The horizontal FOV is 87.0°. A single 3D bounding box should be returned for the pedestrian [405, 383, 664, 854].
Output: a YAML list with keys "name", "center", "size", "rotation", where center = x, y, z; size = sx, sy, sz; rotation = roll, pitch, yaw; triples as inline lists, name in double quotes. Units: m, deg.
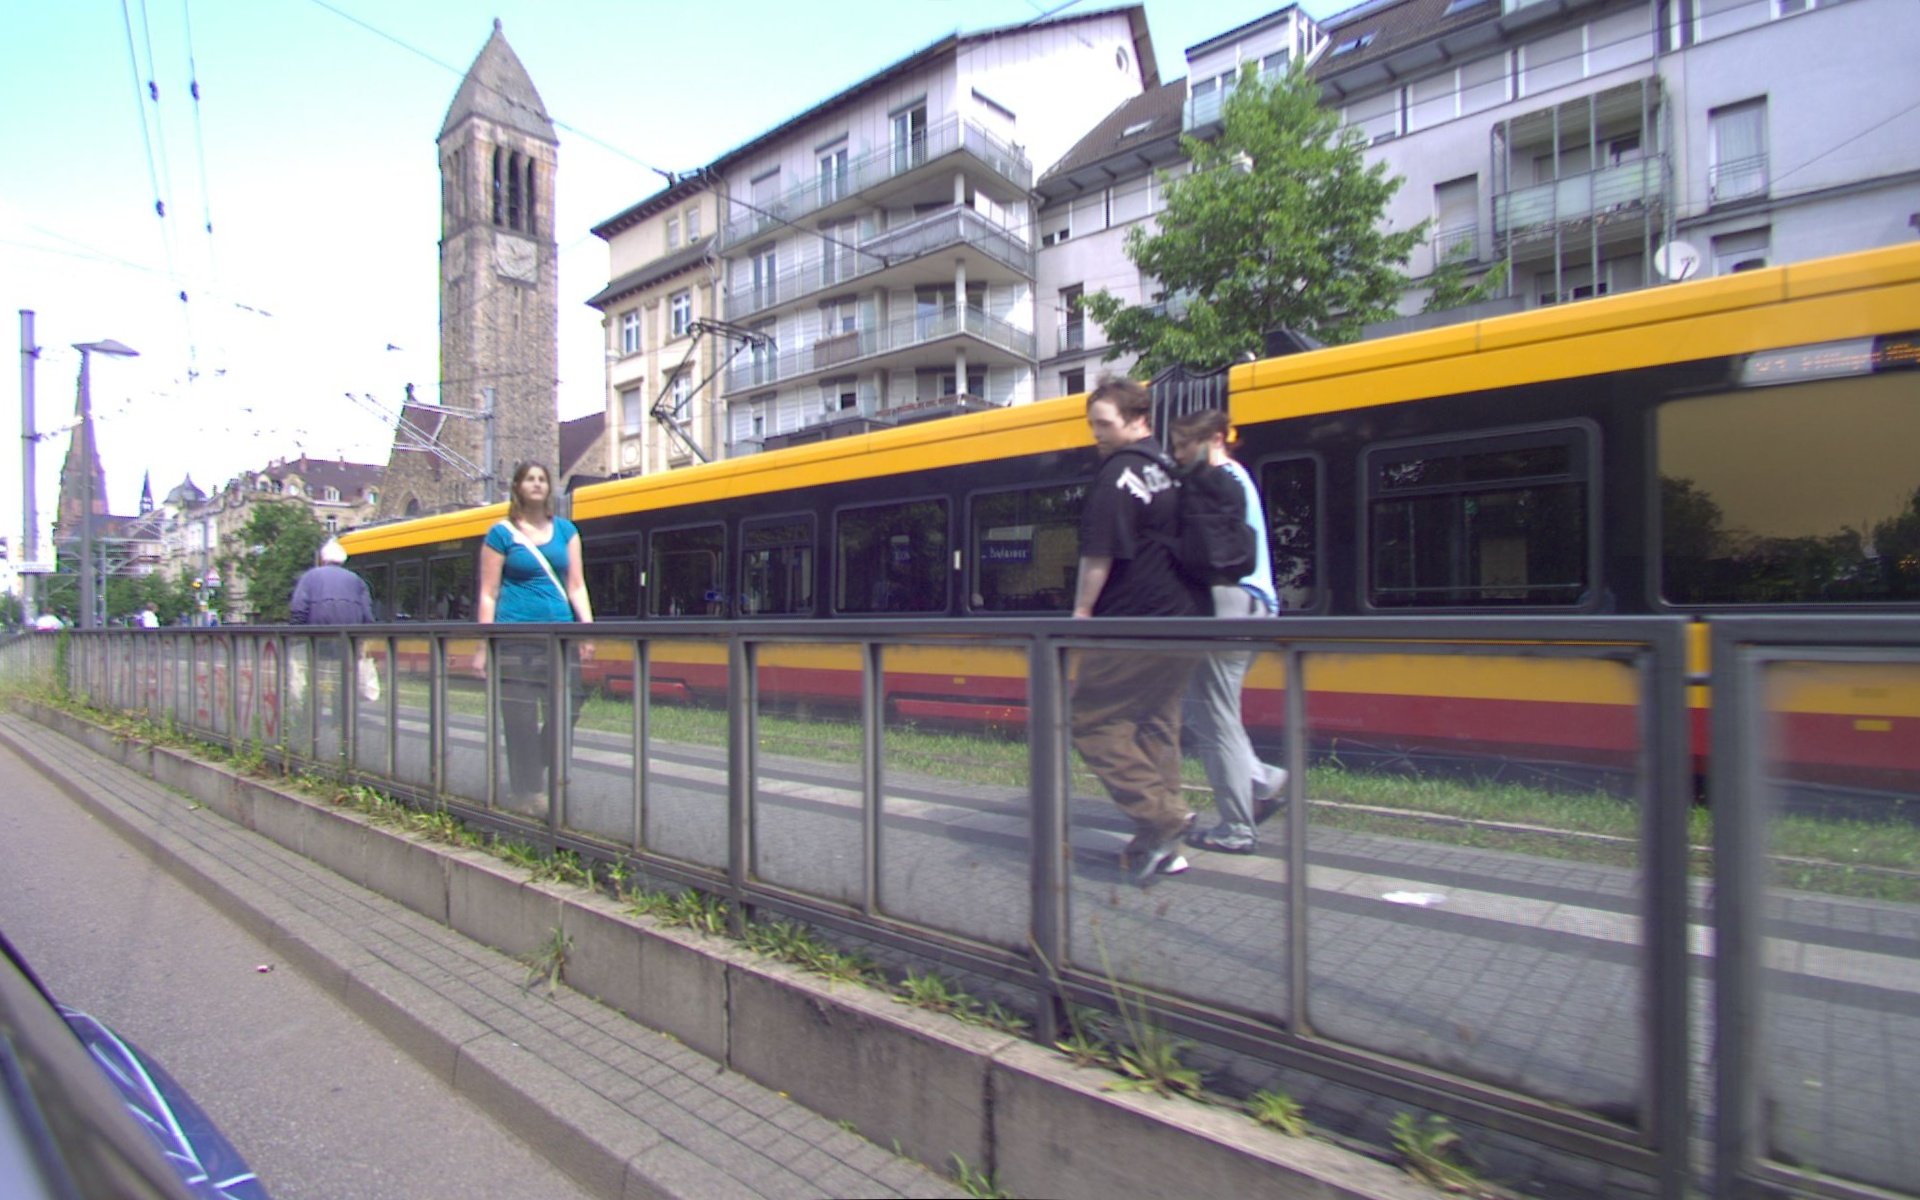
- name: "pedestrian"
  center: [-1.973, 0.078, 4.697]
  size: [0.846, 1.913, 0.818]
  rotation: [-2, -1, 42]

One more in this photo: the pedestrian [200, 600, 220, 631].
- name: "pedestrian"
  center: [-42.557, 0.904, 57.407]
  size: [0.743, 1.744, 0.761]
  rotation: [-2, -2, 42]

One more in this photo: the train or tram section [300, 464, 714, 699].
- name: "train or tram section"
  center: [-10.062, -0.155, 20.960]
  size: [13.012, 3.611, 2.777]
  rotation: [-2, -1, 42]

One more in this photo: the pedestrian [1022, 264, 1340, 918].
- name: "pedestrian"
  center: [0.743, -0.024, 3.409]
  size: [0.789, 1.863, 0.694]
  rotation: [-2, -1, 41]

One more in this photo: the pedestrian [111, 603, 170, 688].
- name: "pedestrian"
  center: [-17.773, 0.972, 21.948]
  size: [1.045, 1.794, 0.839]
  rotation: [-2, -1, 42]

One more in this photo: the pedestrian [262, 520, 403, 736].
- name: "pedestrian"
  center: [-5.577, 0.236, 8.996]
  size: [0.876, 1.788, 0.848]
  rotation: [-2, -1, 42]

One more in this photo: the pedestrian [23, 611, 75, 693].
- name: "pedestrian"
  center: [-19.027, 1.075, 21.147]
  size: [0.615, 1.678, 0.678]
  rotation: [-1, -1, -23]

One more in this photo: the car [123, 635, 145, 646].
- name: "car"
  center: [-99.799, 4.939, 122.200]
  size: [3.063, 1.243, 1.632]
  rotation: [-3, -1, 42]

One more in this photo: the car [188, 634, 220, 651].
- name: "car"
  center: [-72.832, 4.108, 97.468]
  size: [3.837, 1.506, 1.764]
  rotation: [-3, -1, 43]

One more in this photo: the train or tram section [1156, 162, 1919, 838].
- name: "train or tram section"
  center: [7.407, -0.582, 5.172]
  size: [13.012, 3.611, 2.695]
  rotation: [-2, -1, 42]

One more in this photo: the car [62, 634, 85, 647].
- name: "car"
  center: [-109.122, 4.969, 124.586]
  size: [4.132, 1.517, 1.794]
  rotation: [-3, -1, 44]

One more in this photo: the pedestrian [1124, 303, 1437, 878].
- name: "pedestrian"
  center: [1.209, -0.027, 3.843]
  size: [0.907, 1.863, 0.694]
  rotation: [-2, -1, 41]

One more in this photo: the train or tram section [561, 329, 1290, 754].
- name: "train or tram section"
  center: [-1.332, -0.397, 13.108]
  size: [10.400, 3.611, 2.766]
  rotation: [-2, -1, 42]
